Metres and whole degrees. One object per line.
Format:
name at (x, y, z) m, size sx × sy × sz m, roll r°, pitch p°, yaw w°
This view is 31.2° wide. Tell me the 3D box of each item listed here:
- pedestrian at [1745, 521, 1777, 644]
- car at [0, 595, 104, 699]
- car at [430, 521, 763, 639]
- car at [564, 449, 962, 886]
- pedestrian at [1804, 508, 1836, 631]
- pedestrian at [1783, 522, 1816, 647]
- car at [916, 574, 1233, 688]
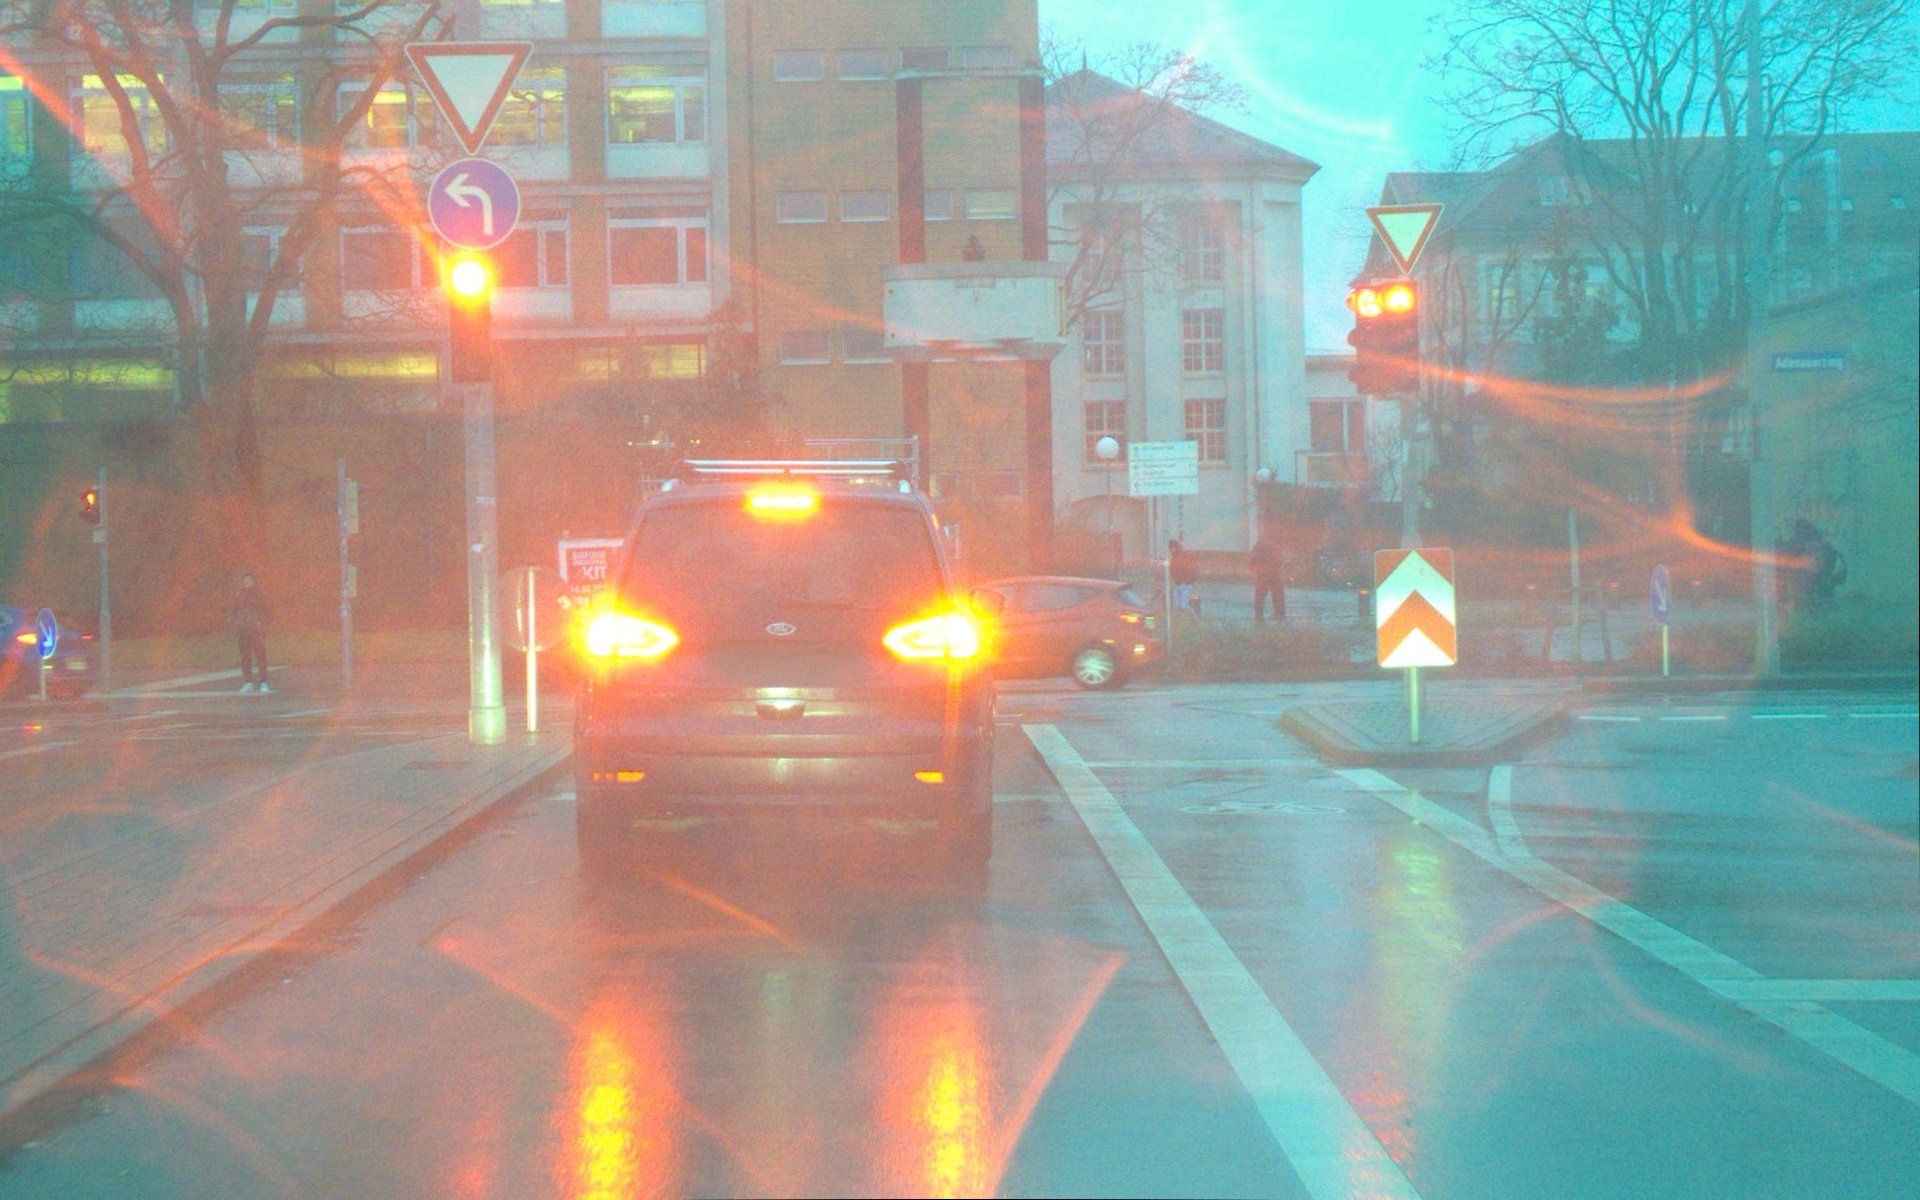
pedestrian at (12.029, -0.257, 51.611) m, size 0.438 × 1.832 × 0.459 m, roll 0°, pitch -1°, yaw 17°
car at (-13.639, 0.636, 47.110) m, size 3.413 × 1.393 × 1.468 m, roll 0°, pitch -1°, yaw 15°
car at (-6.378, -0.348, 60.696) m, size 5.548 × 2.017 × 1.999 m, roll 0°, pitch -1°, yaw 5°
car at (-0.853, 0.236, 16.324) m, size 1.647 × 1.812 × 4.000 m, roll 0°, pitch 1°, yaw -1°
pedestrian at (12.902, -0.450, 51.555) m, size 0.438 × 1.832 × 0.459 m, roll 0°, pitch -1°, yaw 18°
pedestrian at (12.354, -0.226, 50.584) m, size 0.458 × 1.832 × 0.438 m, roll 0°, pitch -1°, yaw 17°
car at (1.468, 0.387, 43.470) m, size 3.791 × 1.393 × 1.564 m, roll 0°, pitch -1°, yaw 12°
